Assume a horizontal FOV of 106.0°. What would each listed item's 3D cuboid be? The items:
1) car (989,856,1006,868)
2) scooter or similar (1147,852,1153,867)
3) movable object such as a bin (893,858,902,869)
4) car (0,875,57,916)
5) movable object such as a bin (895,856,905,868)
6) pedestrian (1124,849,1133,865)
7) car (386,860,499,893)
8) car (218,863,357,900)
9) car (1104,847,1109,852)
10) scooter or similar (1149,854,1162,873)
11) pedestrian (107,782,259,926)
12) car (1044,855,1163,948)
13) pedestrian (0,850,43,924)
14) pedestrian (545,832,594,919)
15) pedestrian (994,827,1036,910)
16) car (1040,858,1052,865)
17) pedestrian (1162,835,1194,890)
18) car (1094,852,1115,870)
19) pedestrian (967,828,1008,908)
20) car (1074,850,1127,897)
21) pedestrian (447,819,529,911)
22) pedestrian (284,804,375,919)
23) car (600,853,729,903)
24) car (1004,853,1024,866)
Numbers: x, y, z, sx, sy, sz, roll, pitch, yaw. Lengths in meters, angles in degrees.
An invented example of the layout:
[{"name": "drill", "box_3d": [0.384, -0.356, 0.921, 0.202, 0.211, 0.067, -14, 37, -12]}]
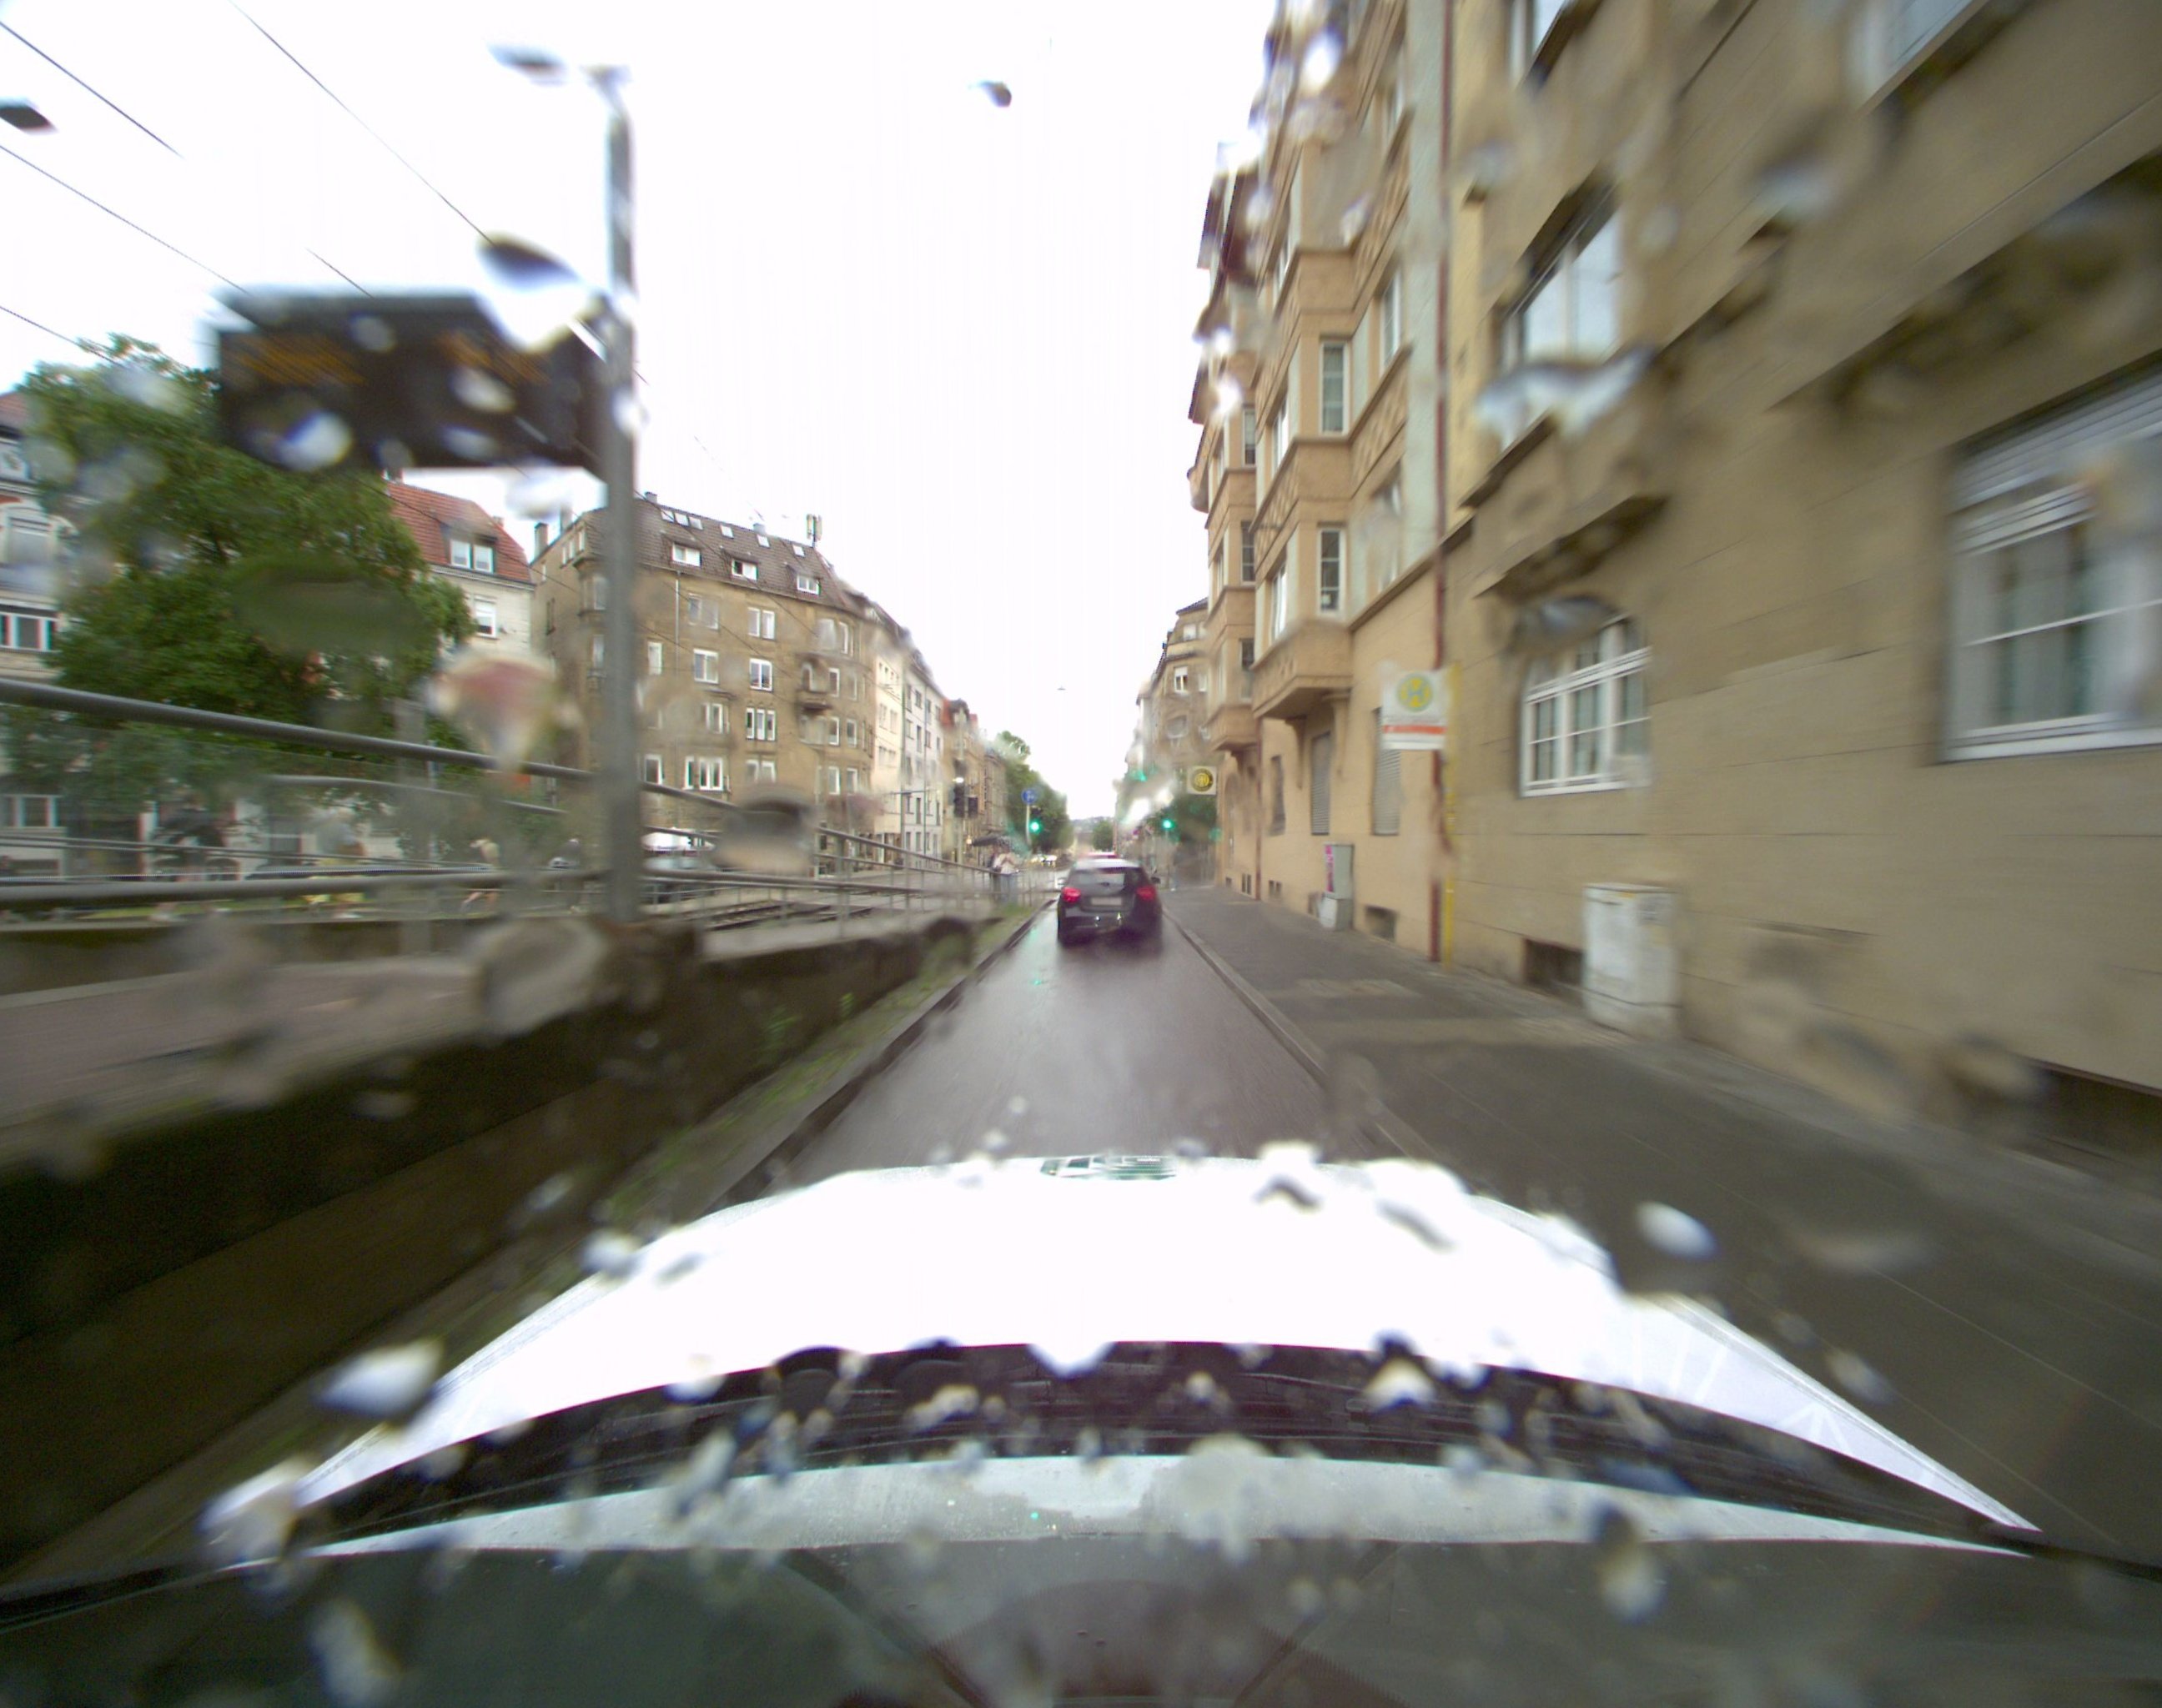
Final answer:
[{"name": "car", "box_3d": [-11.355, 1.057, 110.787, 1.715, 1.541, 3.937, -2, 0, 3]}, {"name": "scooter or similar", "box_3d": [5.724, 0.447, 67.505, 0.394, 1.216, 1.107, -1, 0, 0]}, {"name": "movable object such as a bin", "box_3d": [-16.146, 0.812, 71.565, 0.591, 0.911, 0.560, 3, 0, 1]}, {"name": "car", "box_3d": [-39.710, 1.523, 28.824, 1.720, 1.403, 4.169, -2, 0, 43]}, {"name": "movable object such as a bin", "box_3d": [-16.079, 0.726, 72.297, 0.710, 1.074, 0.687, 3, 0, 1]}, {"name": "pedestrian", "box_3d": [5.279, 0.368, 90.631, 0.942, 1.769, 1.015, -1, 0, -1]}, {"name": "car", "box_3d": [-30.343, 1.060, 38.775, 1.720, 1.403, 4.024, -2, 0, 43]}, {"name": "car", "box_3d": [-33.951, 1.134, 34.929, 1.720, 1.403, 4.193, -2, 0, 43]}, {"name": "car", "box_3d": [7.027, -1.198, 224.355, 1.607, 1.317, 4.001, 1, 0, 2]}, {"name": "scooter or similar", "box_3d": [4.782, 0.621, 52.240, 0.636, 1.210, 1.551, -1, 0, -3]}, {"name": "pedestrian", "box_3d": [-11.164, 0.021, 10.163, 0.741, 1.697, 0.883, 1, -3, 2]}, {"name": "car", "box_3d": [0.474, 0.742, 14.809, 1.858, 1.452, 4.004, 0, 0, 3]}, {"name": "pedestrian", "box_3d": [-24.898, 0.760, 18.926, 0.602, 1.675, 0.688, -2, 0, -1]}, {"name": "pedestrian", "box_3d": [-10.979, 0.455, 17.491, 0.509, 1.818, 0.800, 0, 0, 2]}, {"name": "pedestrian", "box_3d": [-1.637, 0.349, 20.389, 0.922, 2.013, 0.948, 0, 0, 1]}, {"name": "car", "box_3d": [-7.041, 1.495, 164.459, 1.941, 1.396, 4.276, -2, 0, 2]}, {"name": "pedestrian", "box_3d": [3.416, 0.286, 28.678, 0.960, 1.840, 0.904, -4, -1, 6]}, {"name": "car", "box_3d": [2.113, 0.627, 72.455, 1.759, 1.559, 4.747, -1, 0, 2]}, {"name": "pedestrian", "box_3d": [-2.403, 0.341, 21.012, 0.893, 2.013, 0.948, 0, 0, 1]}, {"name": "car", "box_3d": [0.685, 0.599, 27.280, 1.643, 1.452, 4.002, 0, 0, 2]}, {"name": "pedestrian", "box_3d": [-10.525, 0.208, 14.483, 0.690, 1.583, 0.956, 0, -2, 2]}, {"name": "pedestrian", "box_3d": [-11.128, 0.109, 12.083, 0.741, 1.647, 0.641, -1, -1, 1]}, {"name": "car", "box_3d": [-13.493, 0.721, 26.759, 1.637, 1.497, 4.766, -1, 0, 2]}, {"name": "car", "box_3d": [-8.907, 0.702, 108.466, 1.986, 1.628, 5.254, -1, -1, 2]}]
